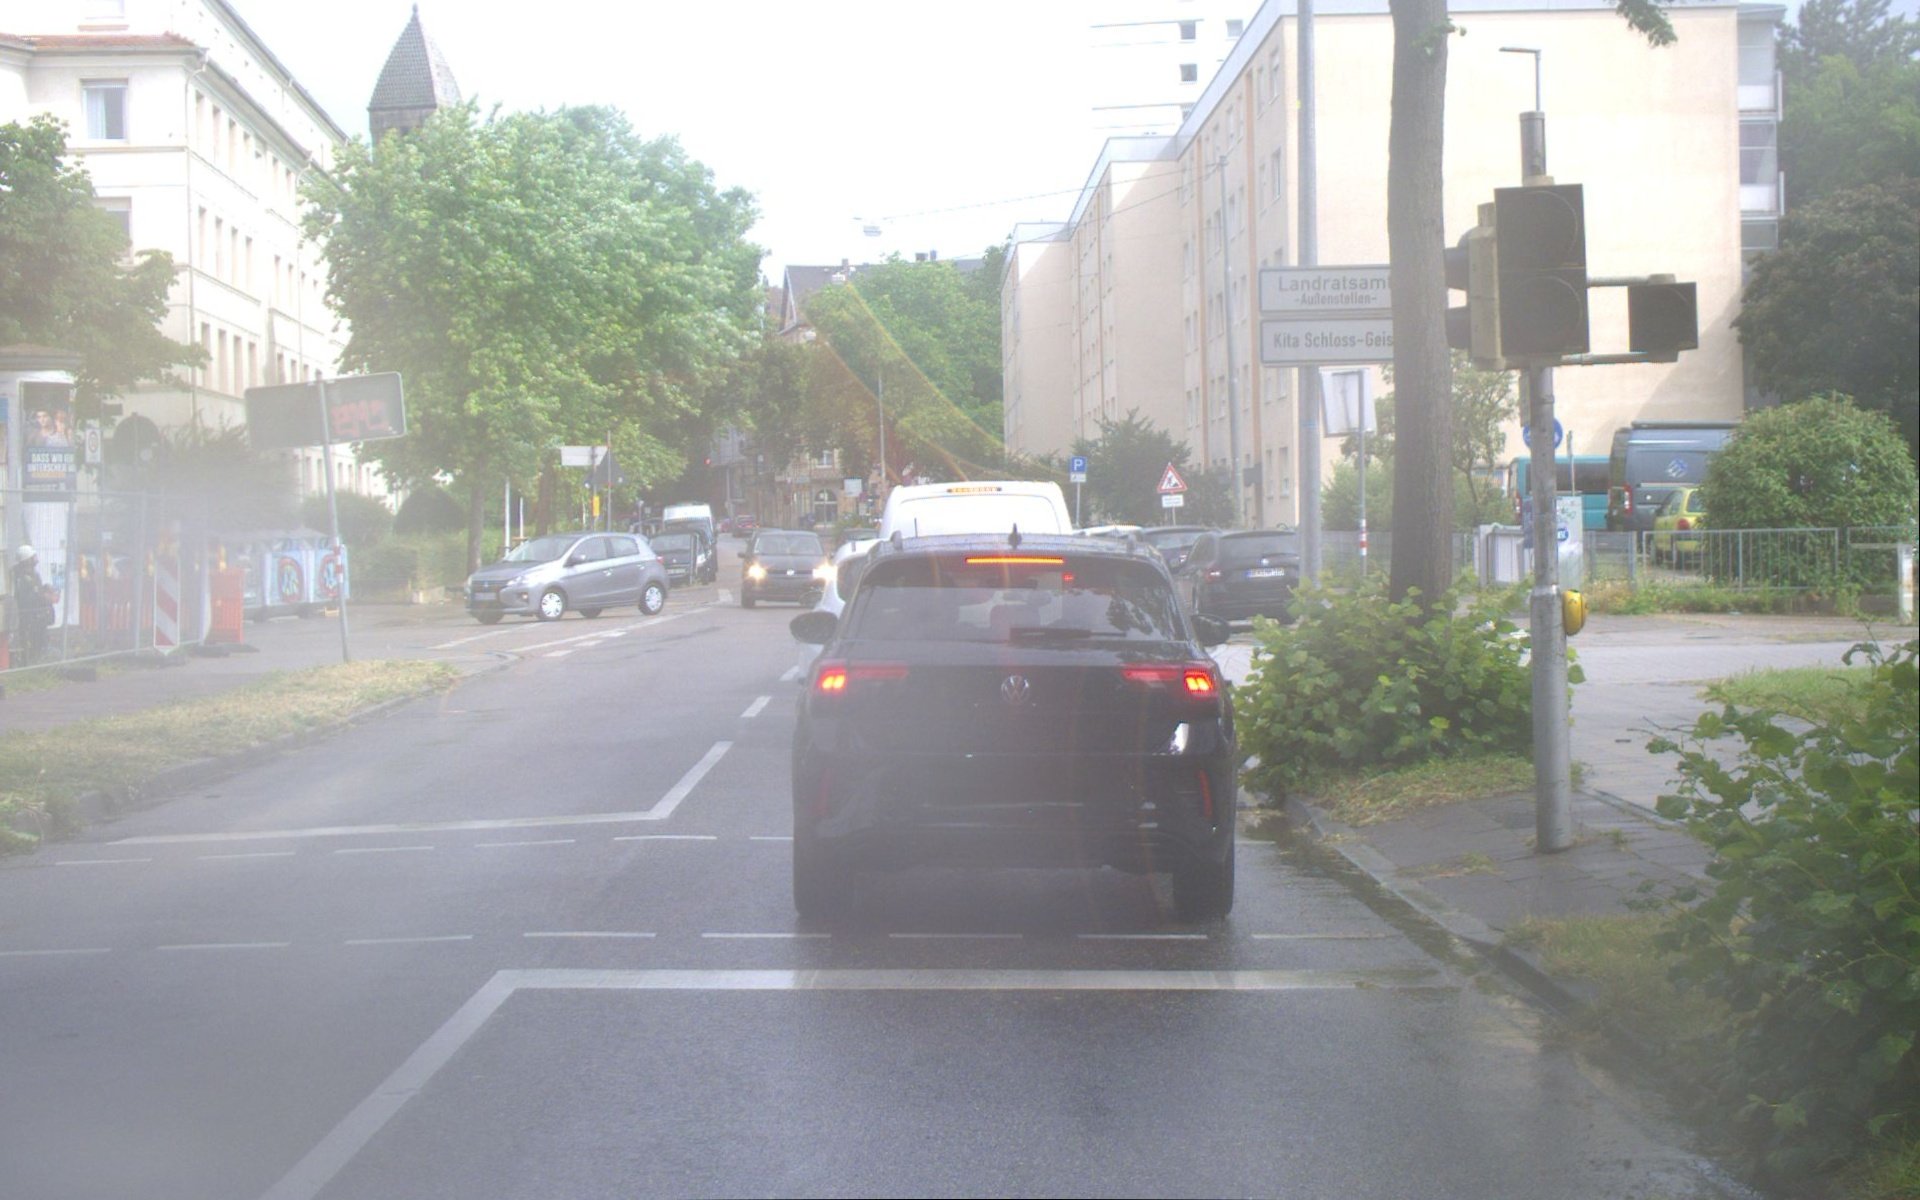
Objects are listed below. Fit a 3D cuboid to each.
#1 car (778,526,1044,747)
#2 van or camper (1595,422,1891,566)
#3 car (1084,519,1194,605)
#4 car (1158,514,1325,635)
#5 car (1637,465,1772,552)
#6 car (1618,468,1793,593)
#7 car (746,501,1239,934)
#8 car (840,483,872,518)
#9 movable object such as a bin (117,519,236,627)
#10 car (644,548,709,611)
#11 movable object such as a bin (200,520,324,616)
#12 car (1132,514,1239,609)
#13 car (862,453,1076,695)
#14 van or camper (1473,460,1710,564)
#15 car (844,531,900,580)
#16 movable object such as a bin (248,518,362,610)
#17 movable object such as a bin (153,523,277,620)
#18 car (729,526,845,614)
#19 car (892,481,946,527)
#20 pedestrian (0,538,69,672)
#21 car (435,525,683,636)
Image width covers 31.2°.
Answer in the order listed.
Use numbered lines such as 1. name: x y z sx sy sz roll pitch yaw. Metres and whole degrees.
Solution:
1. car: -0.349 0.232 25.671 1.813 1.498 4.000 1 1 0
2. van or camper: 14.533 -1.948 64.010 4.998 2.546 2.175 -1 0 1
3. car: 3.378 -0.733 65.390 1.604 1.503 4.160 -3 1 -3
4. car: 3.936 -0.396 48.715 1.774 1.534 4.379 -4 2 -2
5. car: 13.085 -1.605 60.563 1.610 1.444 3.417 -2 1 0
6. car: 11.126 -1.050 51.536 1.804 1.744 4.238 -2 1 2
7. car: 0.105 0.427 15.190 1.873 1.640 4.062 1 1 -1
8. car: -5.782 -5.535 191.116 1.665 1.831 4.001 -2 2 -2
9. movable object such as a bin: -13.681 -0.479 60.051 1.539 1.818 1.262 -1 2 19
10. car: -7.327 -0.555 88.754 1.585 1.500 4.065 -2 2 -5
11. movable object such as a bin: -12.813 -0.594 63.153 1.539 1.668 1.664 -1 2 19
12. car: 3.936 -0.651 60.296 1.757 1.522 3.999 2 -1 3
13. car: 0.128 -0.245 32.029 1.836 2.095 4.000 1 0 1
14. van or camper: 13.620 -1.908 74.417 4.760 2.124 2.321 -1 2 3
15. car: -3.075 -1.582 120.422 1.740 1.602 3.675 -3 1 1
16. movable object such as a bin: -12.318 -0.686 64.668 1.539 1.656 1.457 -1 2 19
17. movable object such as a bin: -13.338 -0.522 61.592 1.539 1.650 1.526 -1 2 19
18. car: -3.186 -0.558 63.968 1.813 1.535 3.982 -2 0 1
19. car: -1.508 -3.536 126.853 1.841 1.602 3.675 -3 1 1
20. pedestrian: -11.436 0.055 42.259 0.721 1.624 0.684 0 0 -38
21. car: -6.747 -0.353 58.146 1.893 1.631 3.992 -6 -1 35
